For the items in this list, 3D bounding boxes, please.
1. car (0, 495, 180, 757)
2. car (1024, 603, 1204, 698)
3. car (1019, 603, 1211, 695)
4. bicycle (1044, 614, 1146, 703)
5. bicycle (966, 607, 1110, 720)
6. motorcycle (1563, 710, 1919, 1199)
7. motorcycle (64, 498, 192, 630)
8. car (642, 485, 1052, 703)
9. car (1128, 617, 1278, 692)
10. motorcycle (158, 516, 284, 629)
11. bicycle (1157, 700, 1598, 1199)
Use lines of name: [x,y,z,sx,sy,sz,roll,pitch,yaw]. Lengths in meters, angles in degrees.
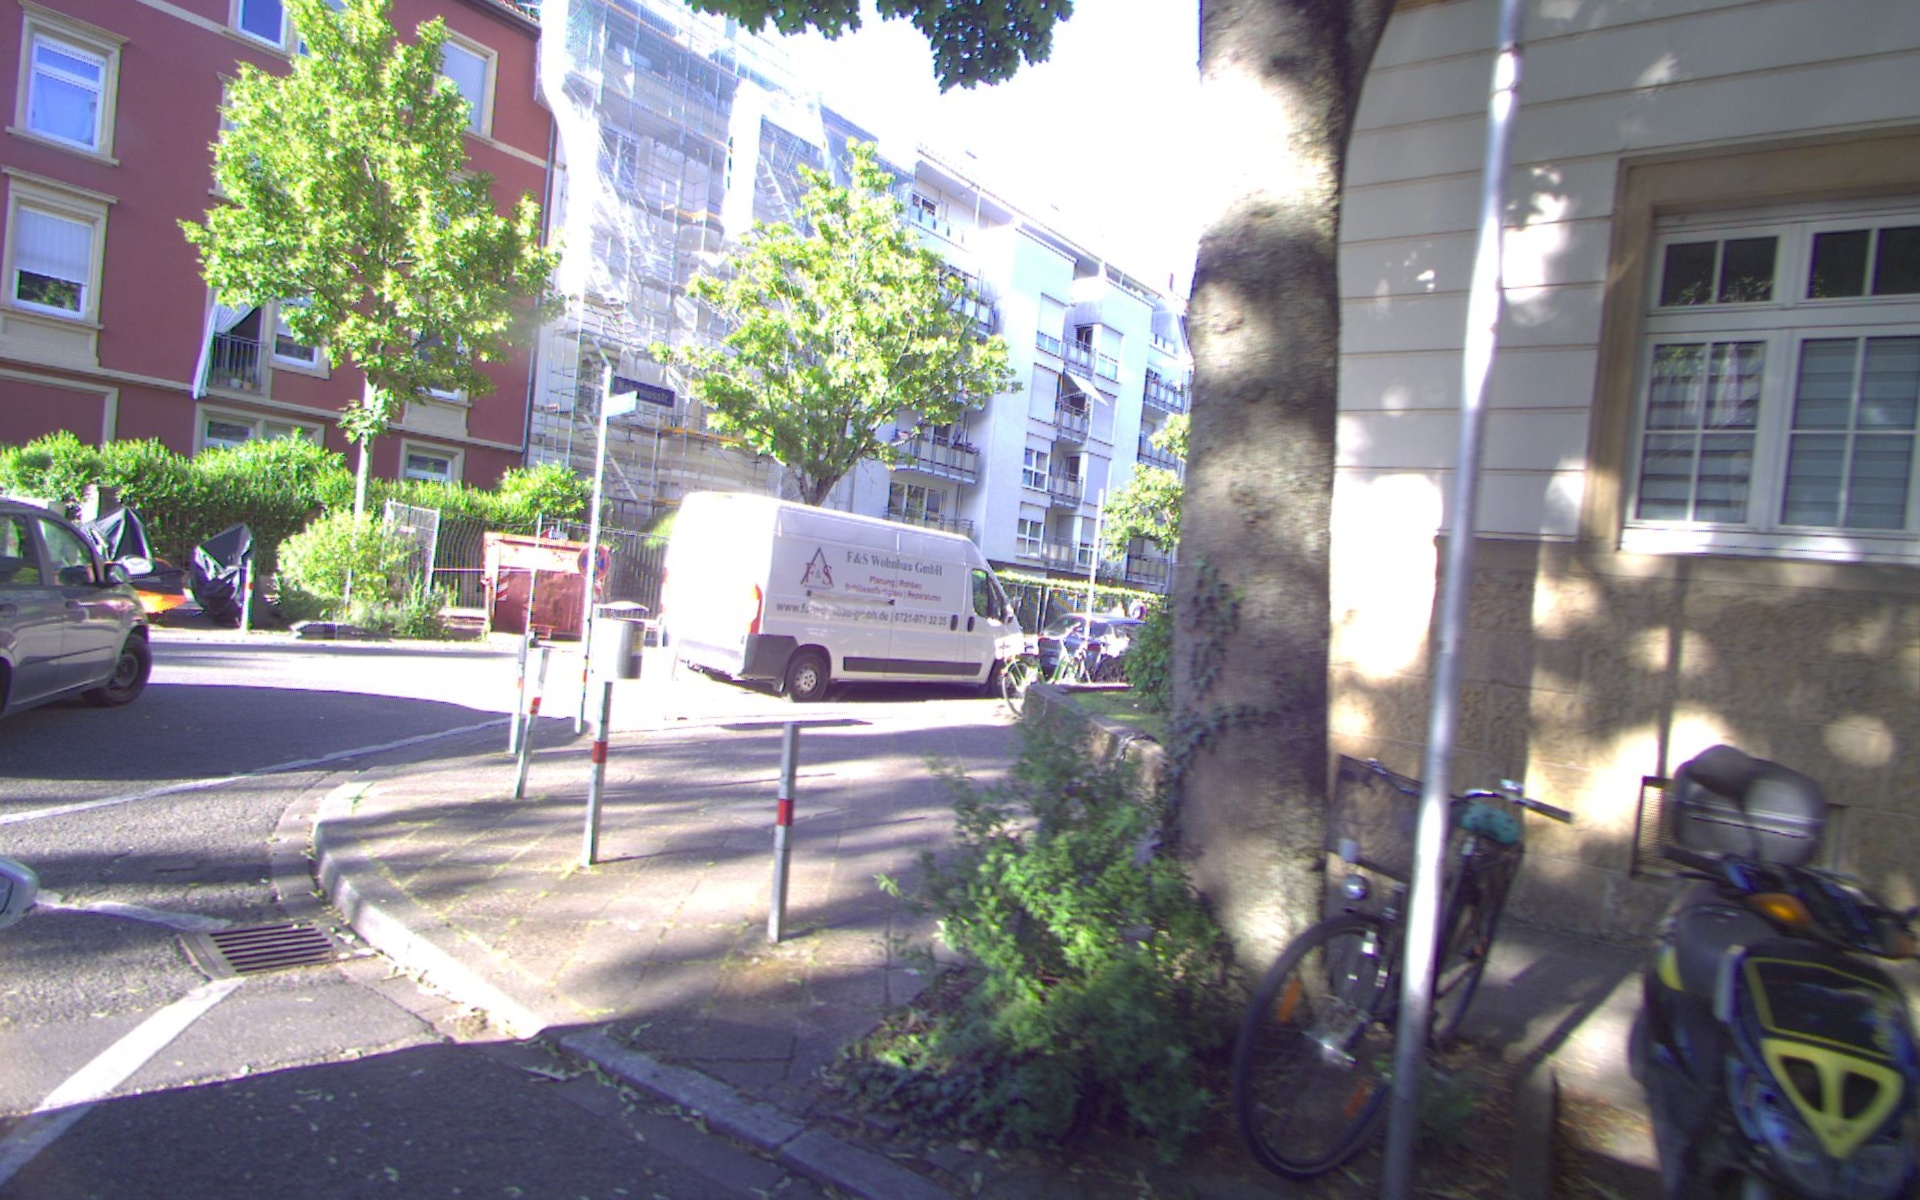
car: [-6.596,0.038,6.405,1.617,1.502,3.513,5,1,-23]
car: [3.048,0.983,19.370,1.700,1.483,3.870,6,1,37]
car: [3.081,0.955,19.364,1.764,1.457,3.980,6,1,40]
bicycle: [2.163,0.946,15.988,1.858,1.307,0.467,5,1,-45]
bicycle: [1.020,0.817,12.825,1.856,1.307,0.631,5,1,-42]
motorcycle: [2.028,1.028,2.523,0.667,1.230,1.850,8,4,29]
motorcycle: [-11.395,-0.517,13.738,2.585,1.545,0.870,8,3,41]
car: [-1.350,0.006,14.407,2.273,2.500,5.634,7,1,41]
car: [5.786,1.284,23.639,1.763,1.441,4.201,6,1,38]
motorcycle: [-10.683,-0.421,14.504,2.507,1.423,0.867,6,2,41]
bicycle: [1.361,0.937,3.062,1.784,1.177,0.428,3,3,-43]
